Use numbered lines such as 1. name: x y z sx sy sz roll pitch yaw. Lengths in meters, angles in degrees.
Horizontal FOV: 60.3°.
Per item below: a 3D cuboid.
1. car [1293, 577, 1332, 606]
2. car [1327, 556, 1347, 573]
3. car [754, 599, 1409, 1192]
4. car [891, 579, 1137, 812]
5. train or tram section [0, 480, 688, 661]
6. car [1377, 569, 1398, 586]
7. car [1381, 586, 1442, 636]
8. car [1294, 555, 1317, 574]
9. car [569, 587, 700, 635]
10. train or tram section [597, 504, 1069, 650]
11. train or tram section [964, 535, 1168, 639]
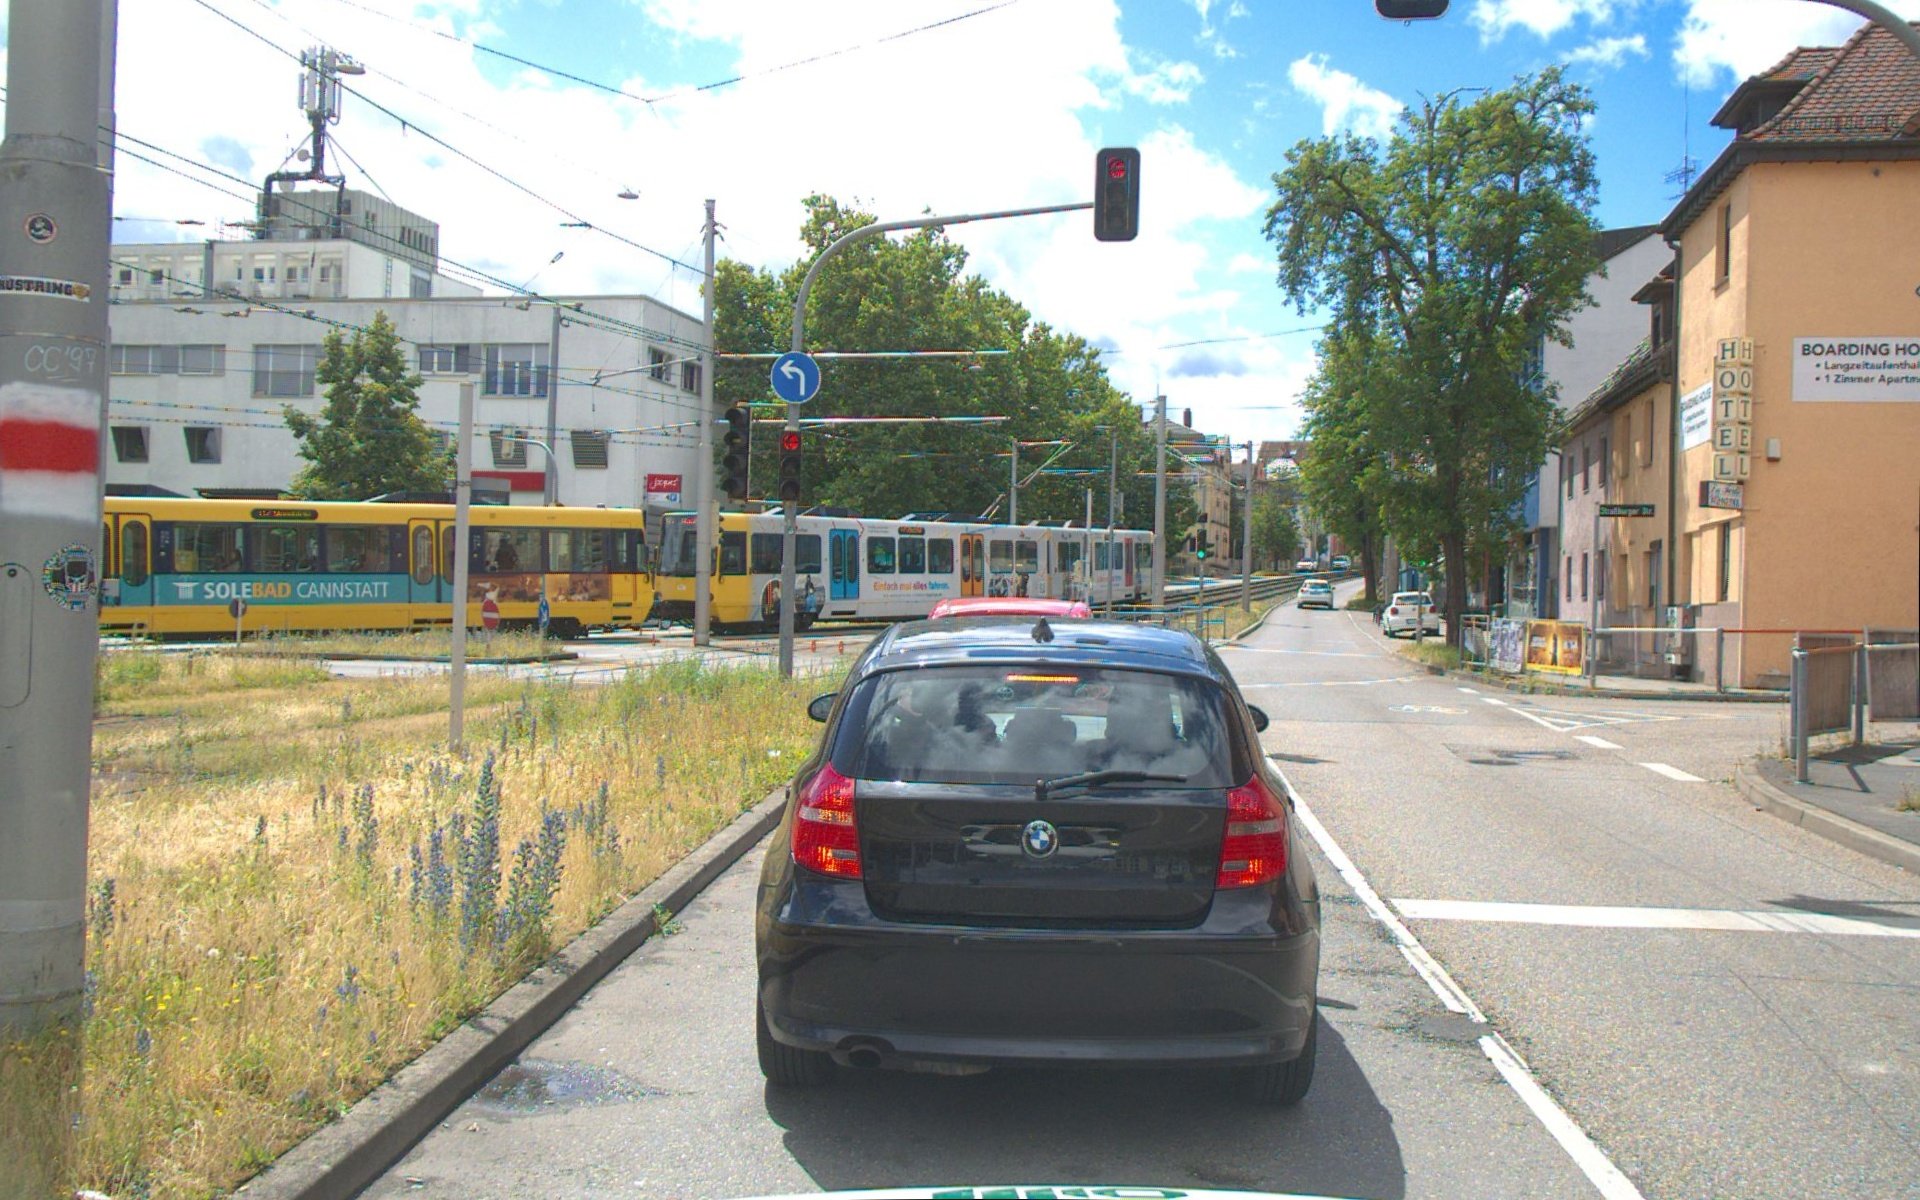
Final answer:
1. car: 18.314 -0.456 85.972 1.776 1.494 4.004 0 0 9
2. car: 47.407 -4.447 207.829 1.952 2.049 4.000 -1 -1 21
3. car: 0.216 0.762 6.201 1.667 1.477 3.997 0 -1 -3
4. car: 0.537 0.642 12.702 1.590 1.499 4.002 0 -1 6
5. train or tram section: -16.580 -0.604 40.656 19.906 3.896 3.717 0 -1 -34
6. car: 39.916 -2.072 154.516 1.777 1.494 4.003 3 1 14
7. car: 15.257 0.377 56.028 1.749 1.624 4.003 0 -1 12
8. car: 39.405 -4.030 188.402 1.952 2.049 4.000 -1 -1 21
9. car: -11.175 0.385 56.957 4.138 1.613 1.828 0 -1 -45
10. train or tram section: -3.086 -0.533 54.236 3.683 3.947 20.573 -1 -1 33
11. train or tram section: 5.139 -0.395 71.853 3.671 3.881 20.057 -1 -1 19
